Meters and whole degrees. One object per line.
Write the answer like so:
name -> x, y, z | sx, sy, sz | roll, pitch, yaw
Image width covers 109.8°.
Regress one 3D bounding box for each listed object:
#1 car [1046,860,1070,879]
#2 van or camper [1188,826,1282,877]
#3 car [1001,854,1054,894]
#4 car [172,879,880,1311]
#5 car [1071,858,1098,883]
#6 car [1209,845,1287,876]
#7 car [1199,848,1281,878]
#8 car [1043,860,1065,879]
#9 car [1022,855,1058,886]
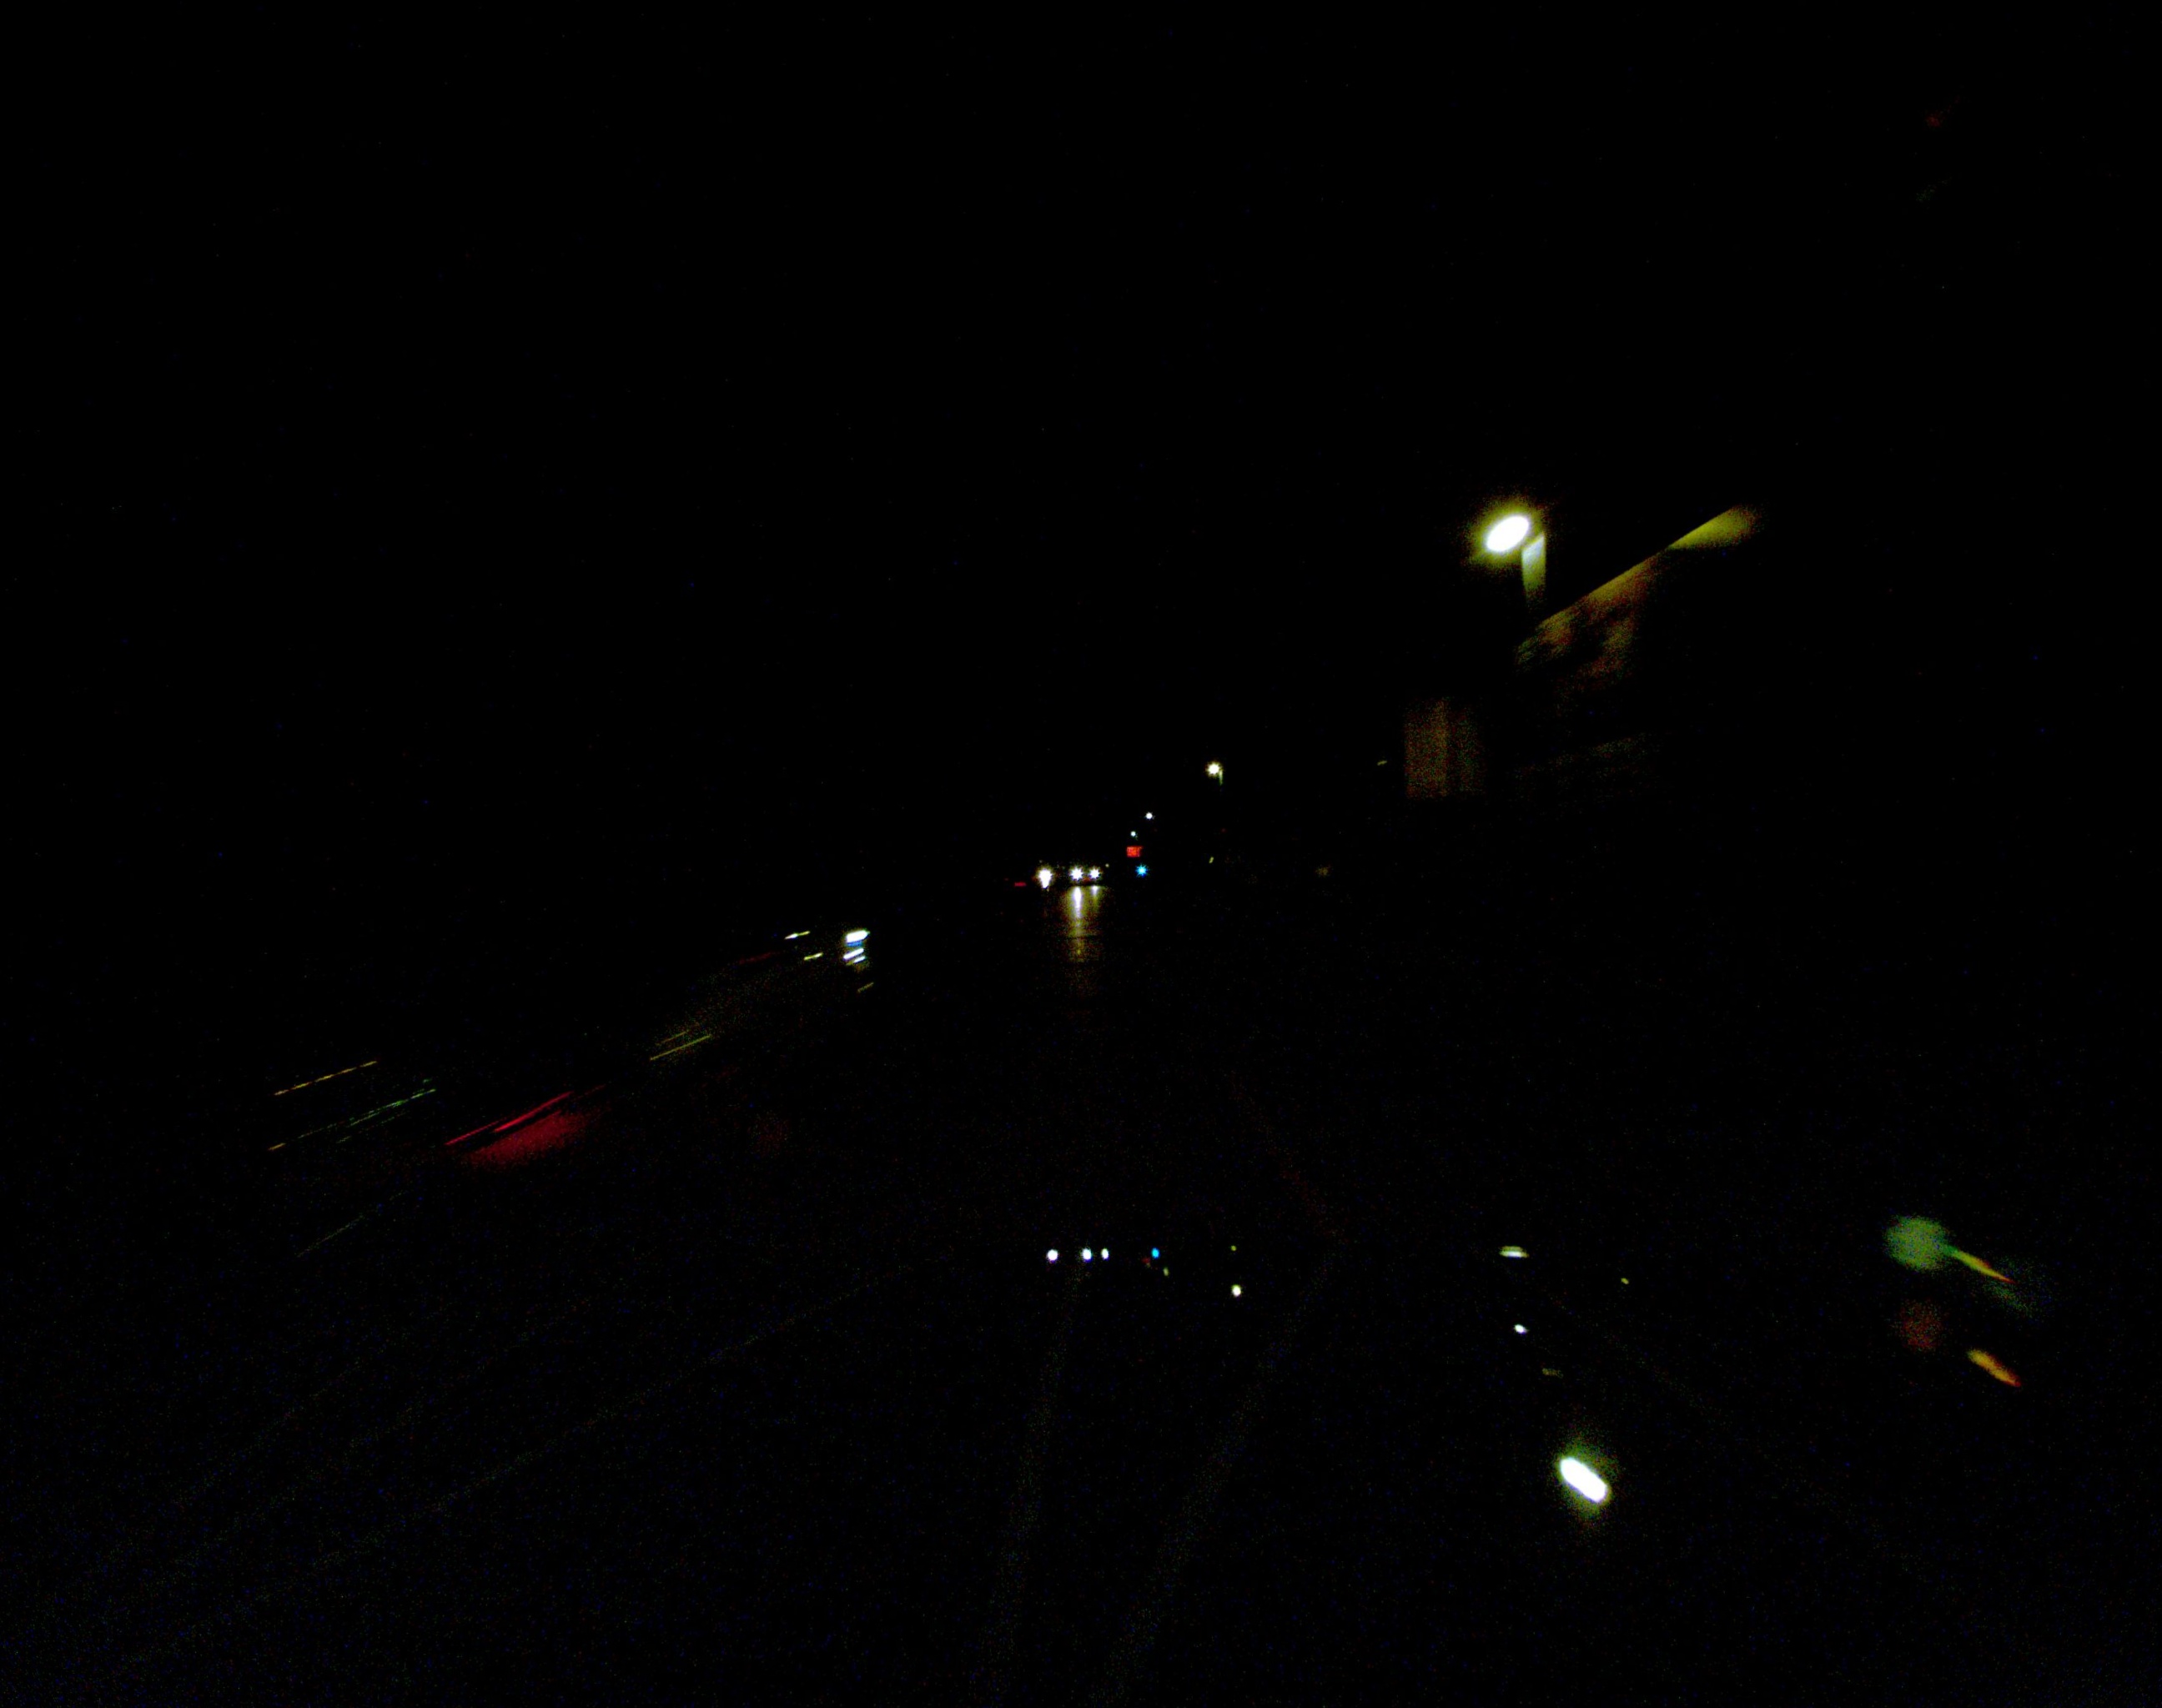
car -> -2.036, 1.401, 68.026 | 1.759, 1.584, 4.730 | -3, -1, 2
van or camper -> 9.823, -0.173, 48.637 | 5.416, 3.093, 2.130 | -1, 1, -9
car -> -2.382, 0.843, 35.125 | 1.836, 1.654, 4.619 | -2, 0, 3
car -> -2.775, 1.032, 5.201 | 1.768, 1.467, 4.274 | -4, 0, -3
car -> 0.230, 1.037, 46.651 | 1.513, 1.492, 3.051 | -1, -2, 2
car -> 9.199, 0.375, 42.102 | 3.820, 1.545, 1.928 | -2, -1, 0
car -> 9.320, 0.534, 44.929 | 4.427, 1.604, 2.065 | -2, 0, 2
car -> -2.205, 1.341, 63.518 | 1.613, 1.452, 3.718 | 1, -2, 1
car -> -2.427, 0.986, 46.245 | 1.723, 1.750, 4.759 | -3, -1, 1
